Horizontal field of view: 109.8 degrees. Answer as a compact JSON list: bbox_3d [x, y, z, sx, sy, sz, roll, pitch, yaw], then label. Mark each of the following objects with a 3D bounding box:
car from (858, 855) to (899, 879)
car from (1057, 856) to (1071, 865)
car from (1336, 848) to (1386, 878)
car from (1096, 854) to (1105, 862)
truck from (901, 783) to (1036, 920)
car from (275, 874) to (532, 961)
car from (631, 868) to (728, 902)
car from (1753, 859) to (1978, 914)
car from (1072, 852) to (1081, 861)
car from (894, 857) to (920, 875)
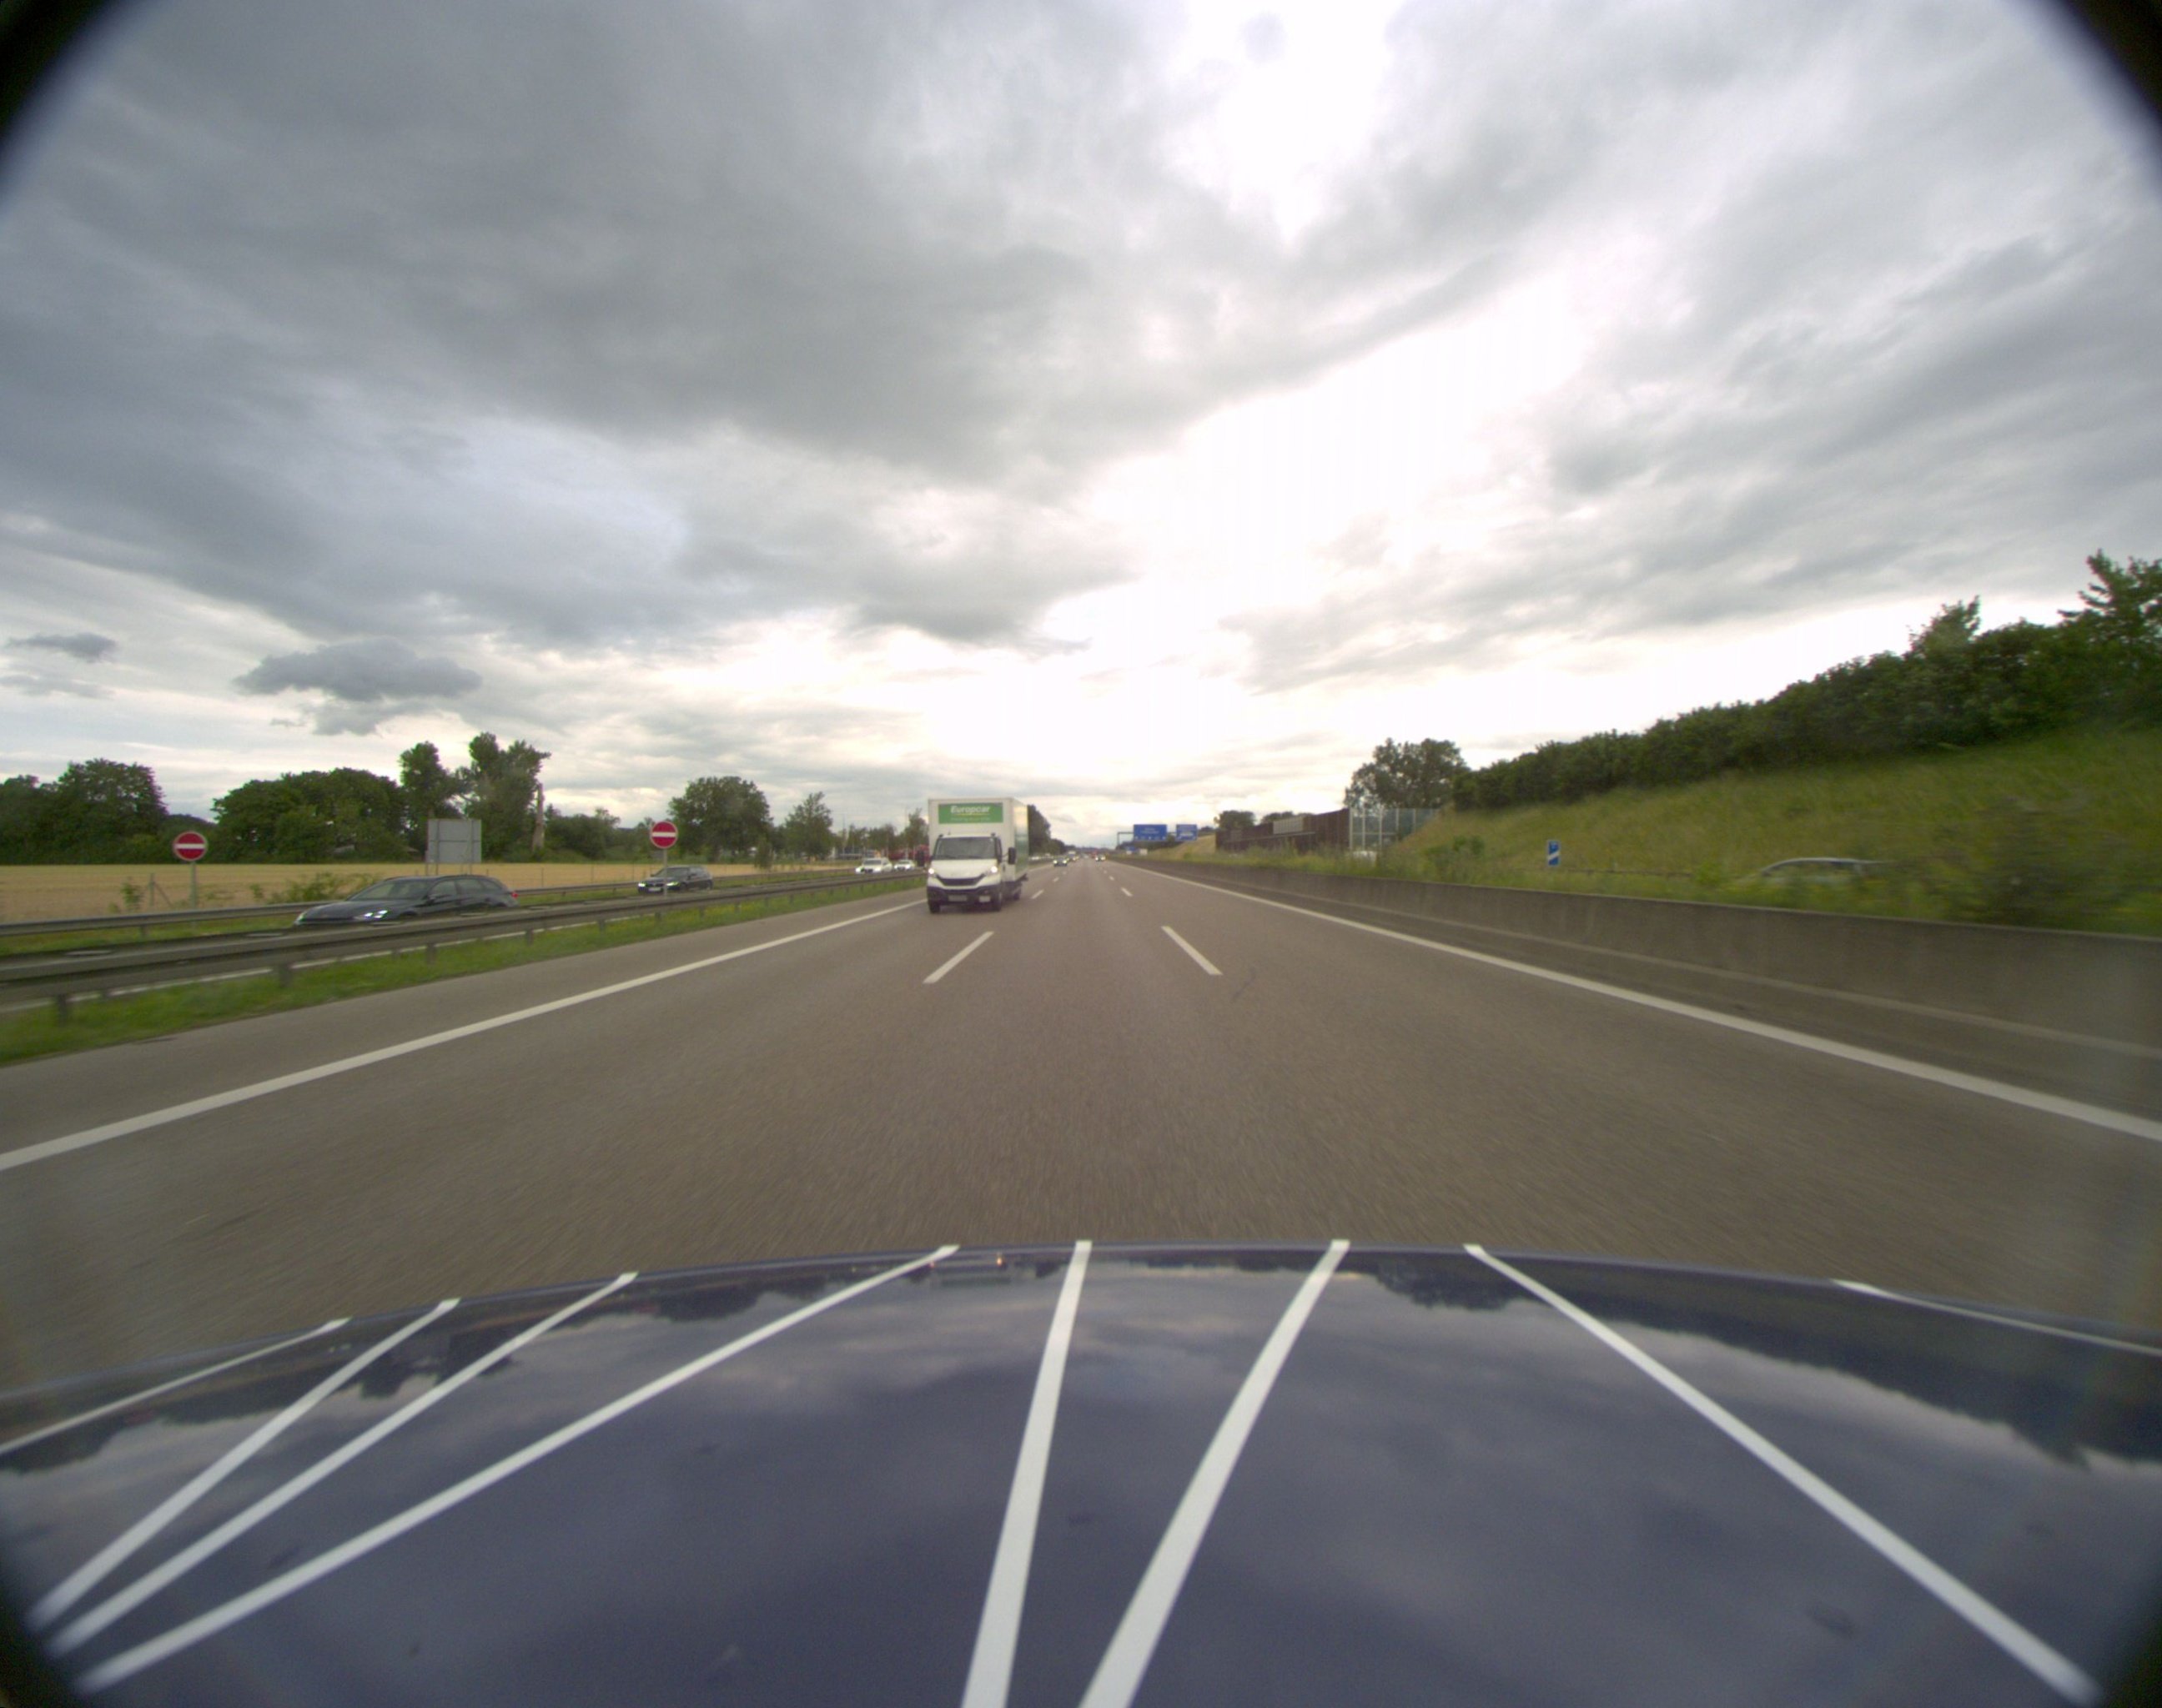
[{"bbox_3d":[-15.772,1.009,59.472,1.833,1.746,5.065,0,0,0],"label":"car"},{"bbox_3d":[-2.409,0.901,107.188,1.781,1.180,4.000,0,0,1],"label":"car"},{"bbox_3d":[16.989,0.515,46.352,1.603,1.746,4.120,0,0,1],"label":"car"},{"bbox_3d":[4.672,0.895,182.981,1.998,2.002,4.000,0,0,1],"label":"car"},{"bbox_3d":[-3.178,-0.078,24.235,2.777,3.484,9.061,-2,0,1],"label":"truck"},{"bbox_3d":[-14.841,1.290,17.096,1.755,1.476,4.591,-2,0,-3],"label":"car"},{"bbox_3d":[-19.204,1.442,36.661,1.833,1.308,5.712,-2,0,-3],"label":"car"},{"bbox_3d":[20.175,0.774,19.837,1.603,1.239,4.119,0,0,0],"label":"car"},{"bbox_3d":[-1.072,0.595,175.258,1.998,2.002,4.000,0,0,1],"label":"car"},{"bbox_3d":[-20.277,1.385,88.852,1.982,2.002,4.000,-2,1,1],"label":"car"}]
